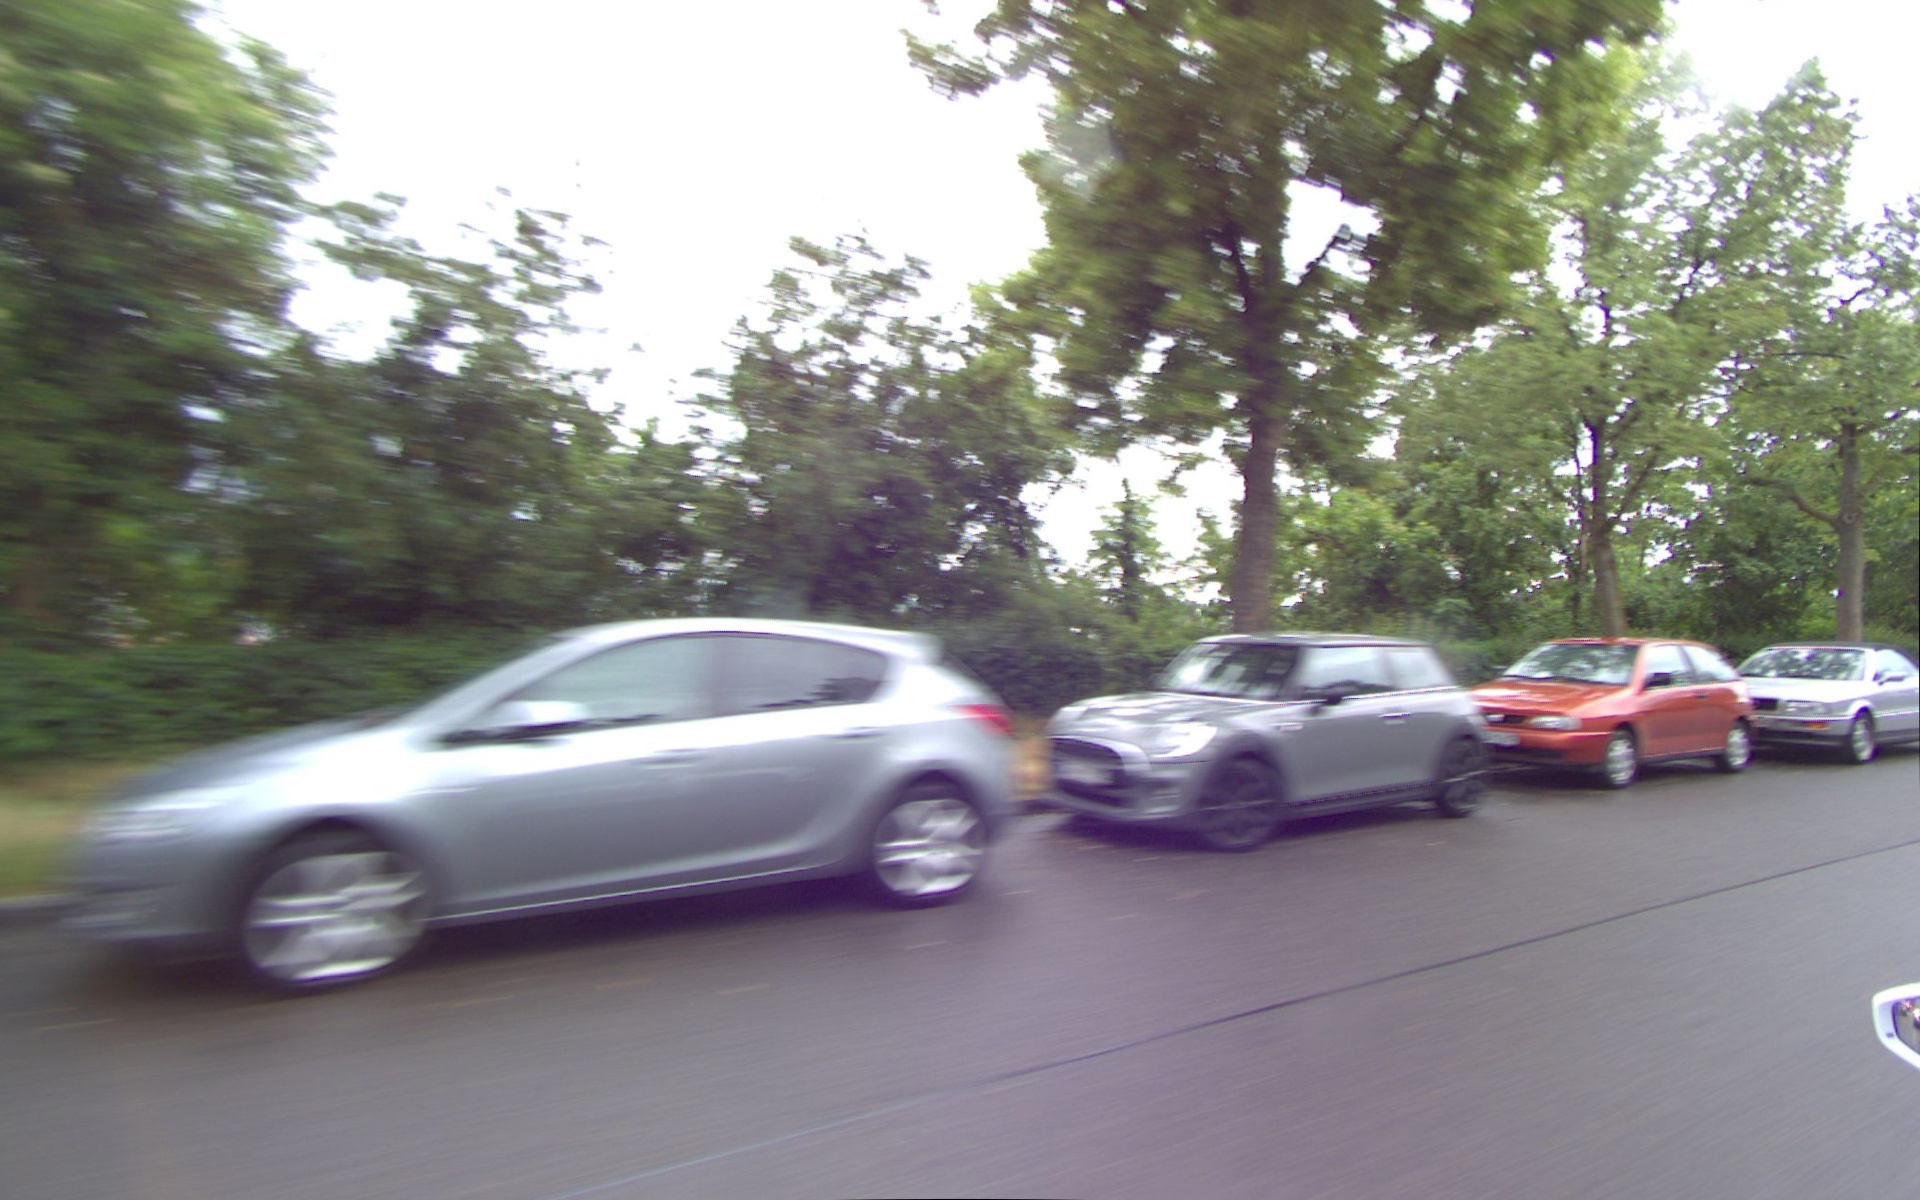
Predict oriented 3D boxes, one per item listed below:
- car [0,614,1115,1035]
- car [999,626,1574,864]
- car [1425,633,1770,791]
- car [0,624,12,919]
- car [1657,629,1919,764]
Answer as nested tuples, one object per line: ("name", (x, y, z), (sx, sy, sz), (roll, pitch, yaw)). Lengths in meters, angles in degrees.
("car", (-1.643, 0.837, 5.390), (4.654, 1.423, 1.986), (1, -3, -28))
("car", (2.786, 0.947, 8.199), (4.663, 1.423, 1.982), (1, -2, -33))
("car", (6.838, 1.075, 10.665), (3.957, 1.380, 1.586), (2, -2, -32))
("car", (-6.290, 0.786, 2.978), (4.654, 1.423, 1.986), (0, -2, -28))
("car", (10.795, 1.113, 12.559), (4.367, 1.421, 1.746), (2, -2, -30))
